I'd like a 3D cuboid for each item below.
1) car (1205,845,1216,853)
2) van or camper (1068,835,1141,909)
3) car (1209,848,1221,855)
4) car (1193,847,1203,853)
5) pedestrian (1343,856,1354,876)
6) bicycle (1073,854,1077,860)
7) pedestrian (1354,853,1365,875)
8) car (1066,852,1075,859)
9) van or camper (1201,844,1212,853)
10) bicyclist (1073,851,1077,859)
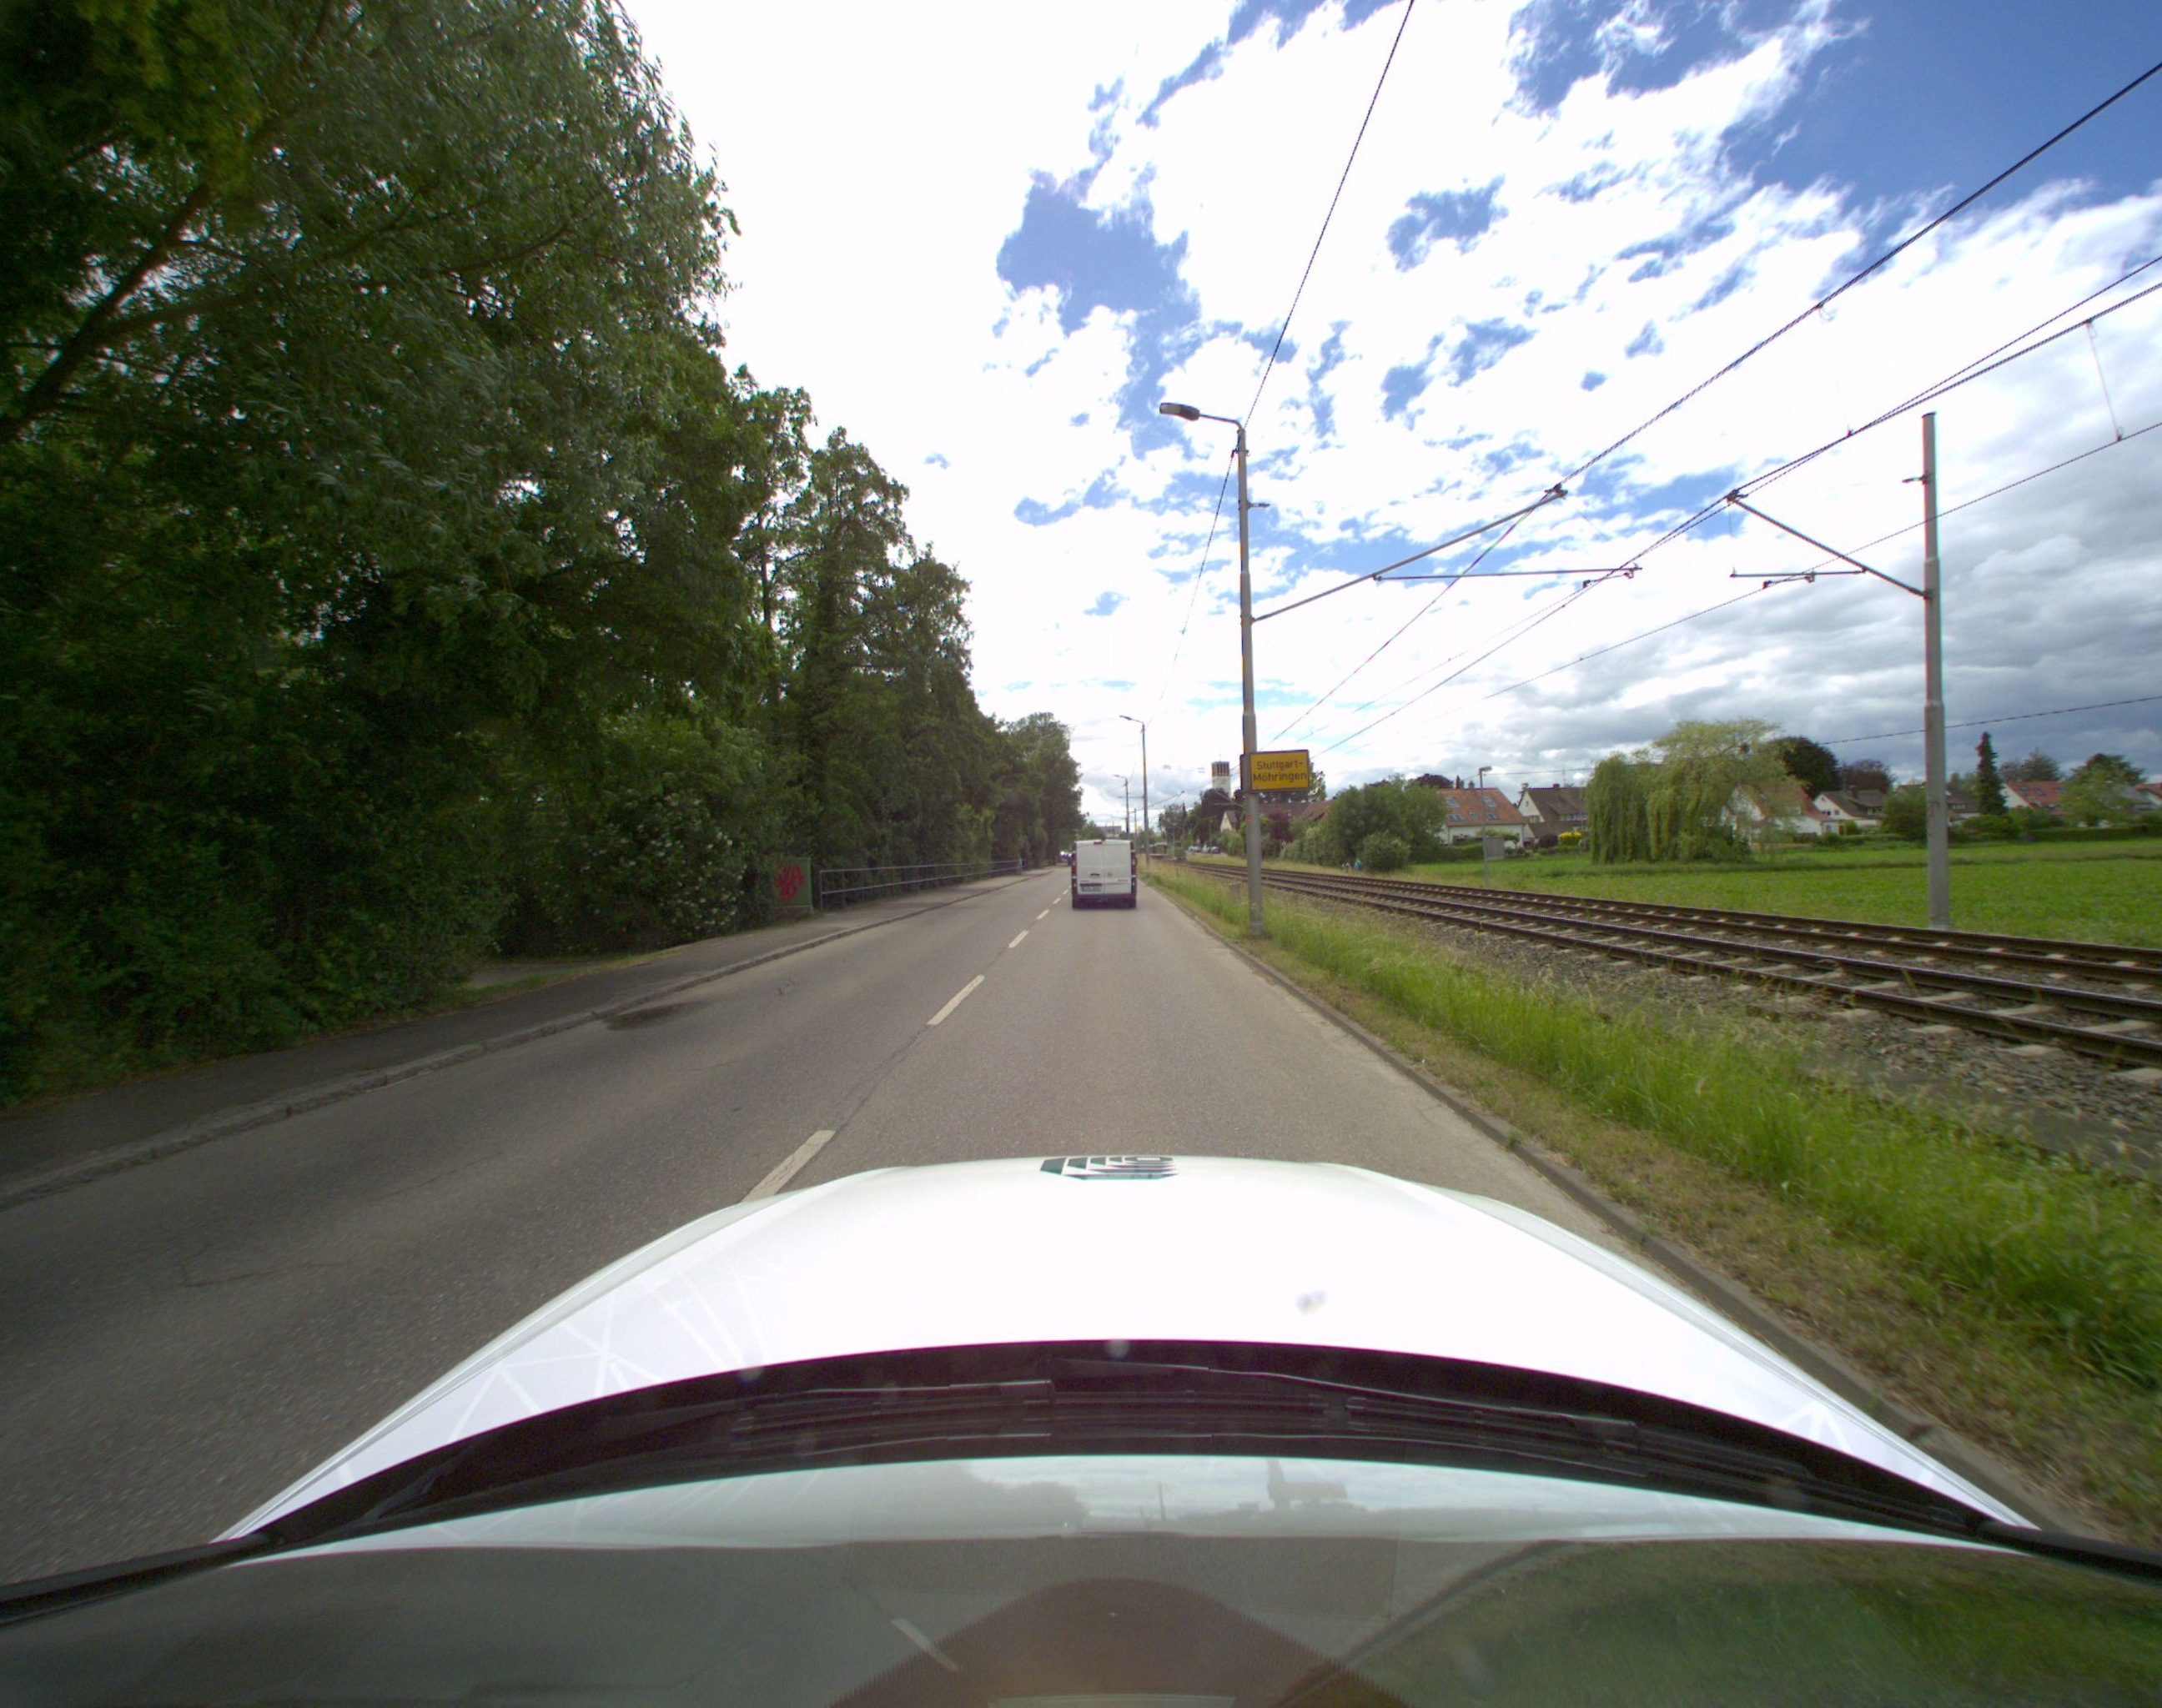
[{"bbox_3d":[27.980,-1.037,175.895,1.876,1.522,4.002,-2,0,2],"label":"car"},{"bbox_3d":[0.720,0.504,24.648,1.986,2.014,4.447,-1,0,2],"label":"van or camper"},{"bbox_3d":[27.968,-0.550,169.835,1.876,1.522,4.002,-2,0,2],"label":"car"},{"bbox_3d":[29.053,-0.970,202.316,1.876,1.522,4.002,-2,0,2],"label":"car"},{"bbox_3d":[19.792,0.866,60.230,0.595,1.430,0.667,0,0,2],"label":"pedestrian"},{"bbox_3d":[-1.212,0.598,163.882,0.752,1.226,2.309,-4,0,1],"label":"bicycle"},{"bbox_3d":[20.617,0.717,60.302,0.614,1.622,0.584,0,0,1],"label":"pedestrian"},{"bbox_3d":[-2.496,0.372,192.424,1.734,1.504,4.470,-4,0,-5],"label":"car"},{"bbox_3d":[27.869,-1.205,180.623,1.898,1.826,5.050,-2,0,2],"label":"van or camper"},{"bbox_3d":[-1.230,0.216,163.791,0.775,1.549,0.870,-2,0,1],"label":"bicyclist"}]
